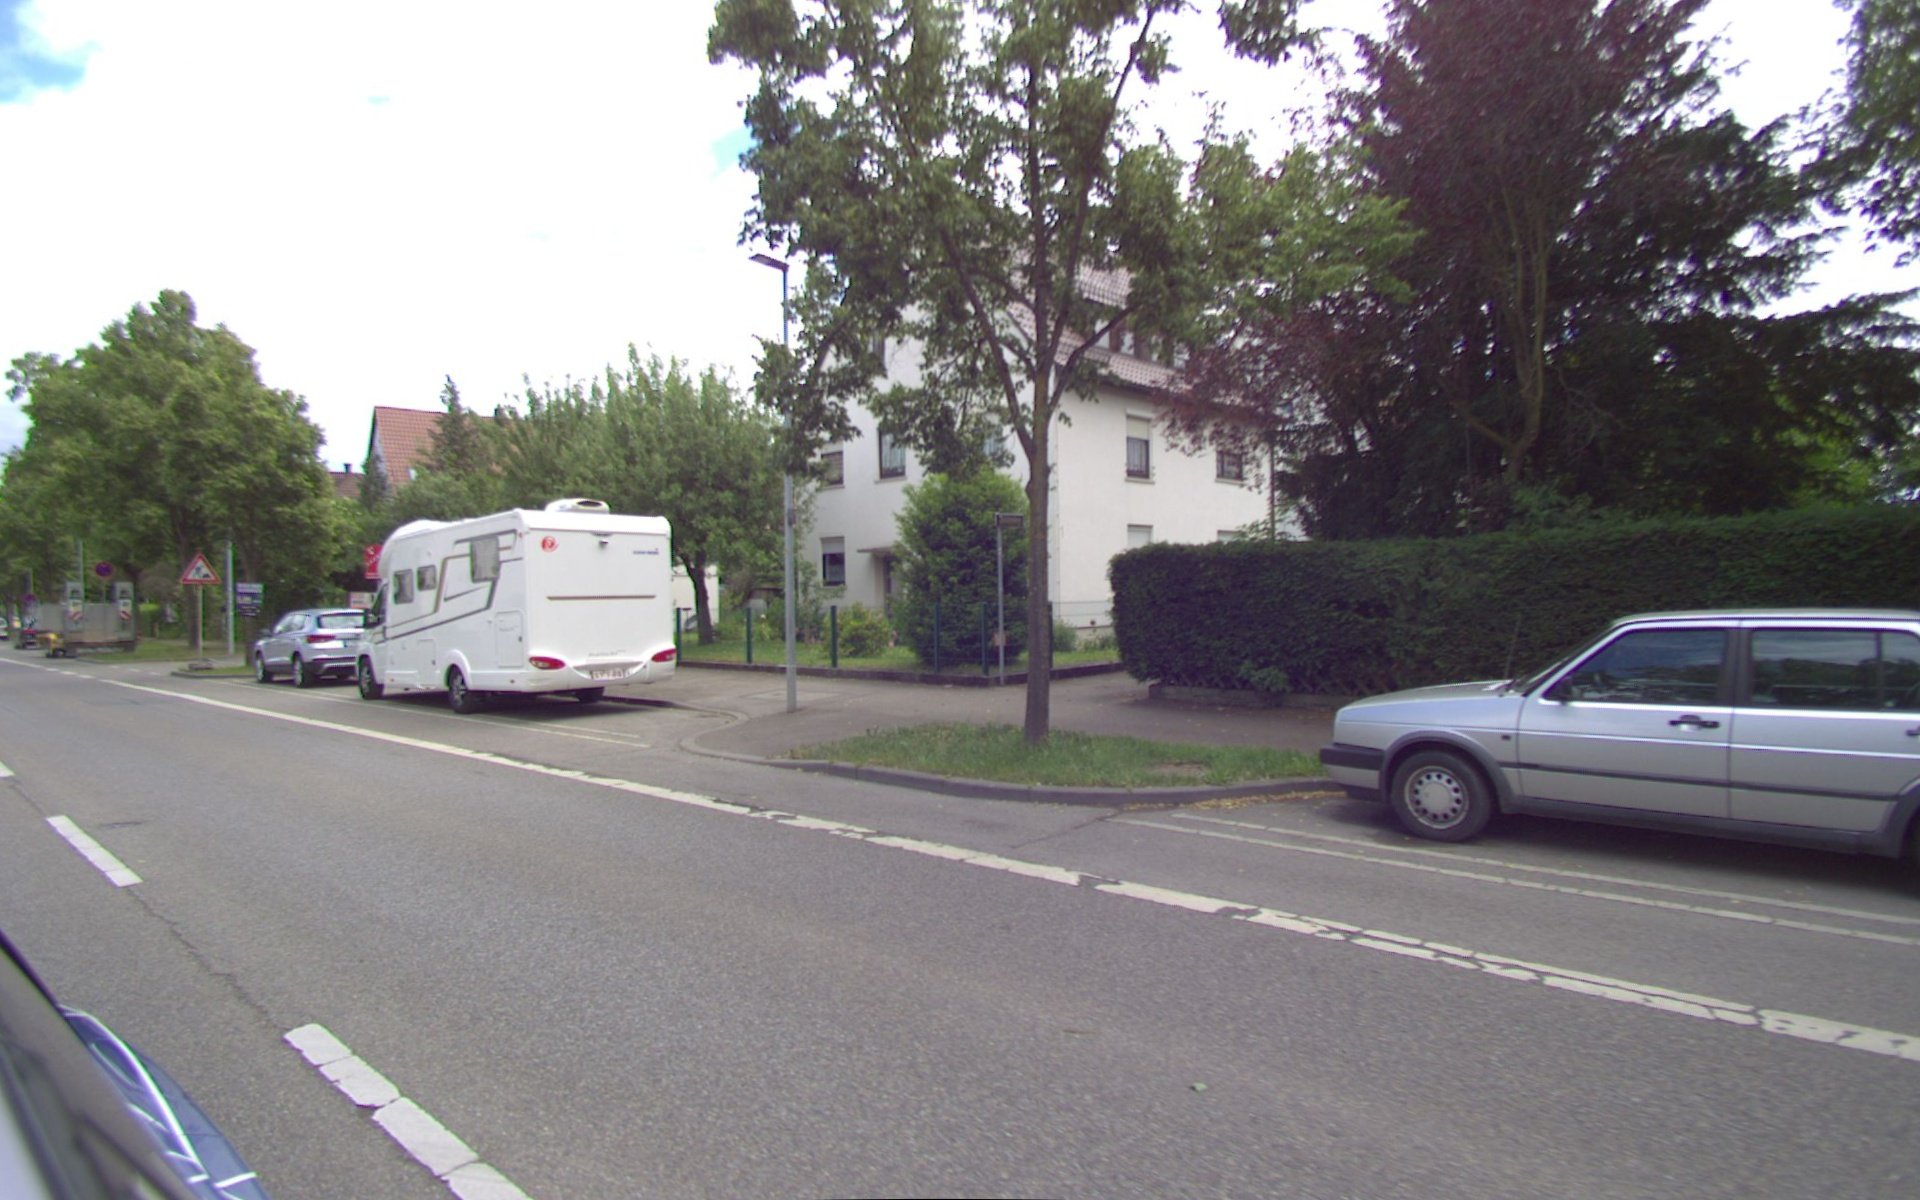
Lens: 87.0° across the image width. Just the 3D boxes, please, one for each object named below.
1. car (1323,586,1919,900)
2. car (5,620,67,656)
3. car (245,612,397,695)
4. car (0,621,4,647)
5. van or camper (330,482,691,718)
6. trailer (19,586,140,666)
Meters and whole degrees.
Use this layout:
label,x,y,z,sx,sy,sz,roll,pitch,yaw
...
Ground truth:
label,x,y,z,sx,sy,sz,roll,pitch,yaw
car,4.568,0.679,5.755,4.448,1.481,1.540,-1,0,40
car,-46.560,1.850,50.970,4.619,1.564,1.840,1,1,42
car,-13.954,1.096,21.997,4.271,1.612,1.704,-1,-1,42
car,-66.348,2.326,68.807,4.225,1.696,1.670,0,0,43
van or camper,-7.607,0.058,16.464,7.690,3.032,2.409,-1,-1,42
trailer,-35.890,0.987,41.140,7.471,2.963,2.646,-1,1,41
